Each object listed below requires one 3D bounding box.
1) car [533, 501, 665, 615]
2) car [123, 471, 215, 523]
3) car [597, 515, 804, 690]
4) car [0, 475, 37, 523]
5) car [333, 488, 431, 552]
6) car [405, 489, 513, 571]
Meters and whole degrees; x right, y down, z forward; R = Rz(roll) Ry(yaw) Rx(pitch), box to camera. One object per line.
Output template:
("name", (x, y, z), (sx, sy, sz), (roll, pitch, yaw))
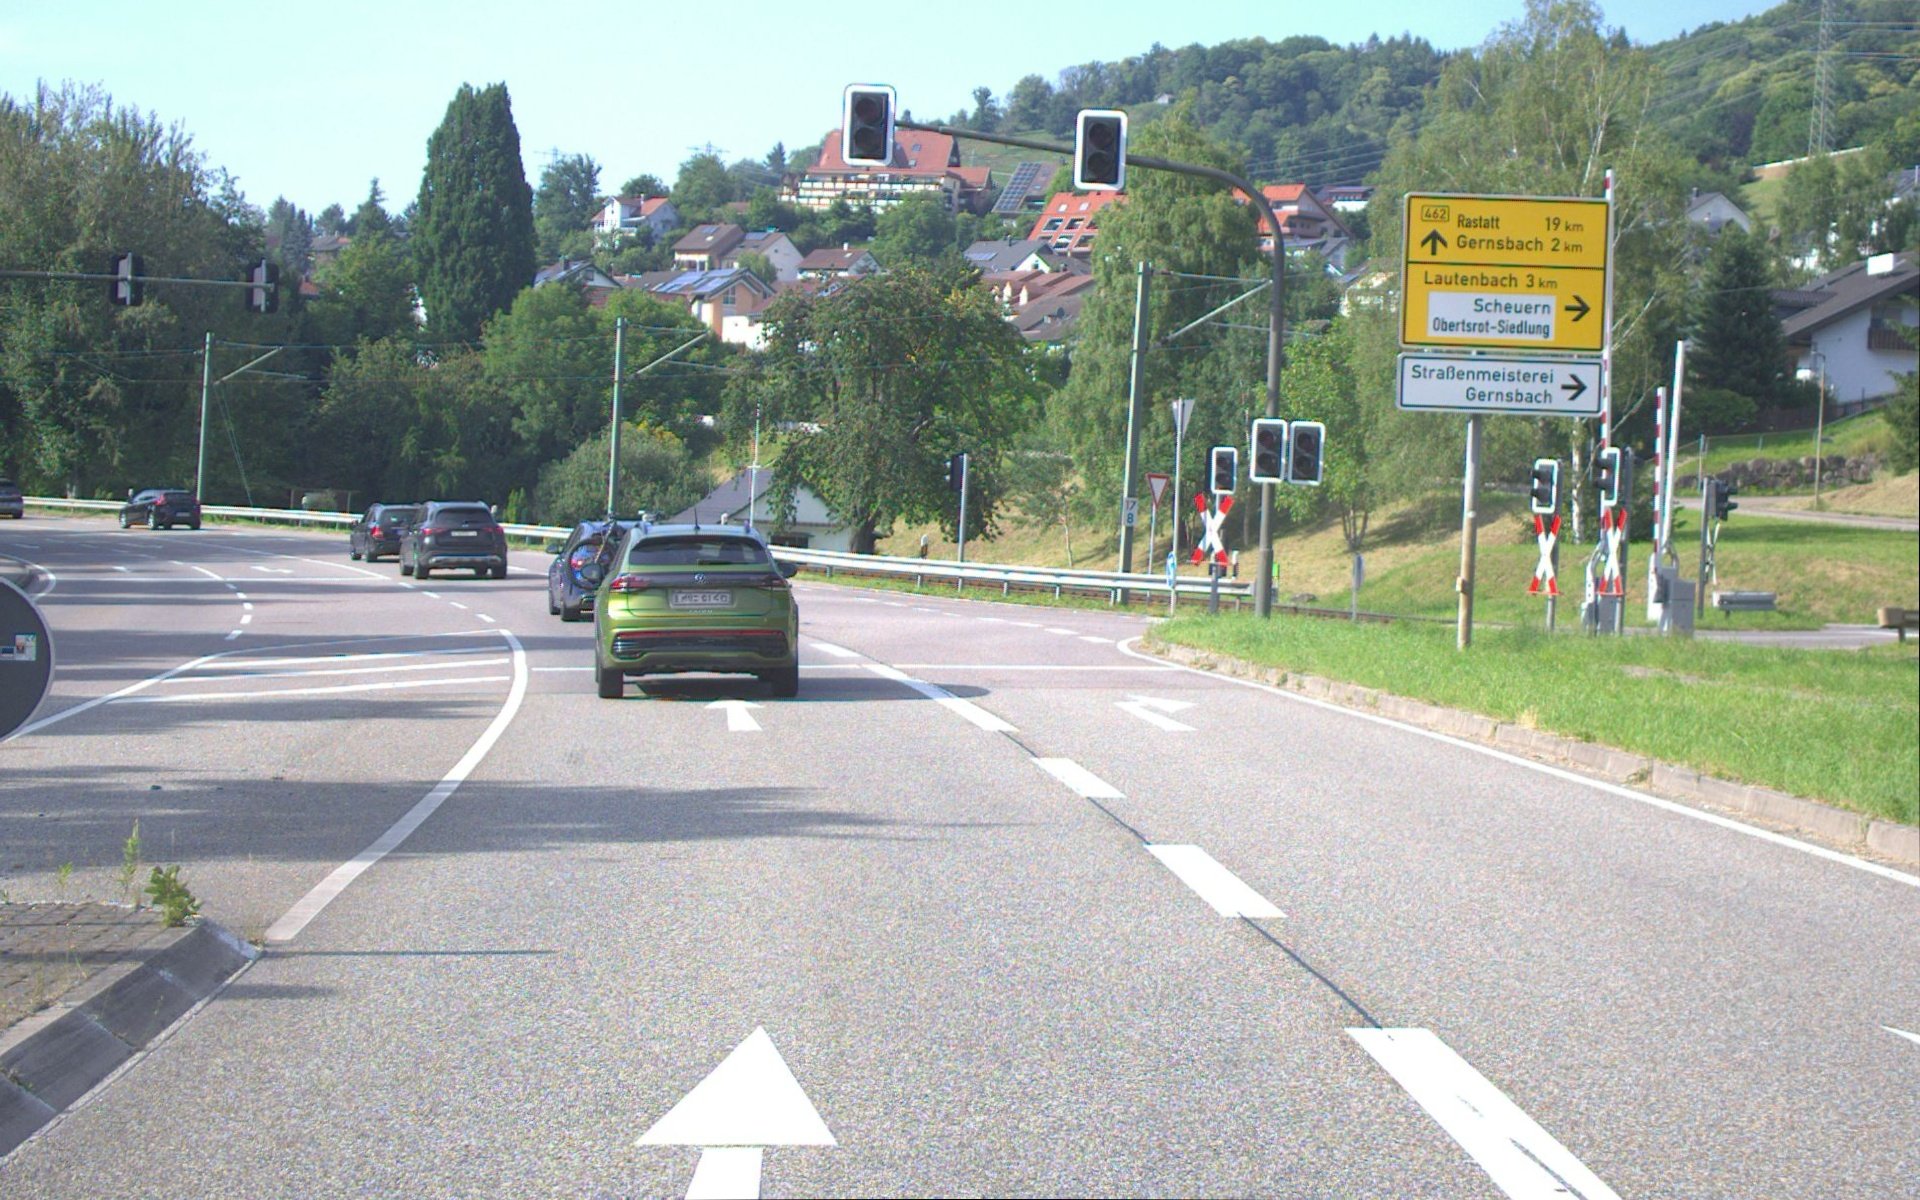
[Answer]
("car", (-5.261, -0.635, 49.752), (1.666, 1.554, 4.001), (1, 1, -9))
("car", (-27.831, -3.633, 120.883), (1.993, 1.739, 4.000), (1, 2, -31))
("car", (-2.325, -0.027, 30.633), (1.714, 1.450, 4.001), (0, 1, -5))
("car", (-37.958, -3.997, 134.732), (2.064, 1.805, 3.999), (-1, 3, -38))
("car", (-14.603, -2.035, 86.719), (1.848, 1.521, 3.664), (1, 2, -19))
("car", (-10.713, -1.501, 73.357), (1.879, 1.681, 4.001), (1, 1, -14))
